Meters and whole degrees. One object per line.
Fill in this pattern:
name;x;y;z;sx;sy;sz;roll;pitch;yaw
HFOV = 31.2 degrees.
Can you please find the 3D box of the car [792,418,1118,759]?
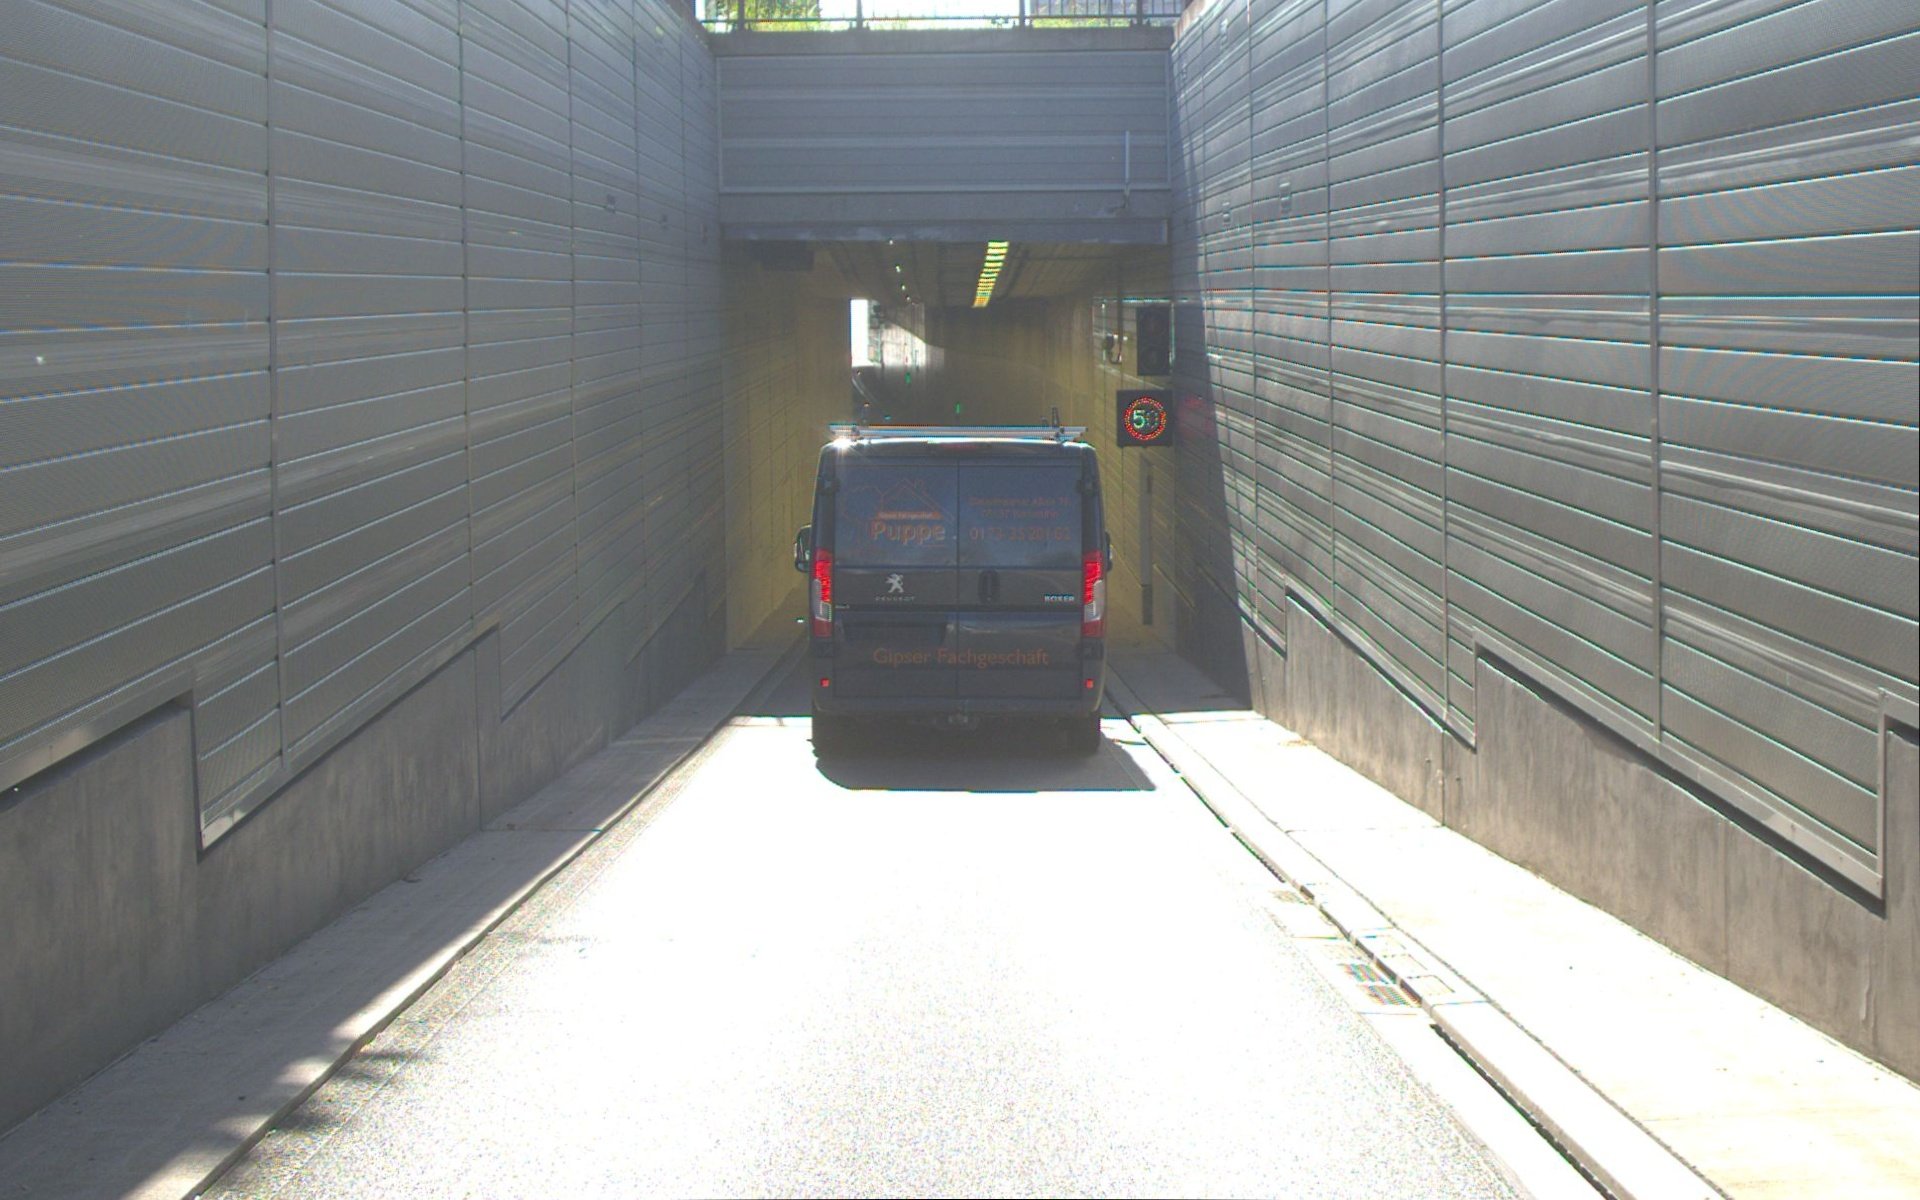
car;-0.033;-0.132;25.281;2.158;2.258;4.637;1;1;0
